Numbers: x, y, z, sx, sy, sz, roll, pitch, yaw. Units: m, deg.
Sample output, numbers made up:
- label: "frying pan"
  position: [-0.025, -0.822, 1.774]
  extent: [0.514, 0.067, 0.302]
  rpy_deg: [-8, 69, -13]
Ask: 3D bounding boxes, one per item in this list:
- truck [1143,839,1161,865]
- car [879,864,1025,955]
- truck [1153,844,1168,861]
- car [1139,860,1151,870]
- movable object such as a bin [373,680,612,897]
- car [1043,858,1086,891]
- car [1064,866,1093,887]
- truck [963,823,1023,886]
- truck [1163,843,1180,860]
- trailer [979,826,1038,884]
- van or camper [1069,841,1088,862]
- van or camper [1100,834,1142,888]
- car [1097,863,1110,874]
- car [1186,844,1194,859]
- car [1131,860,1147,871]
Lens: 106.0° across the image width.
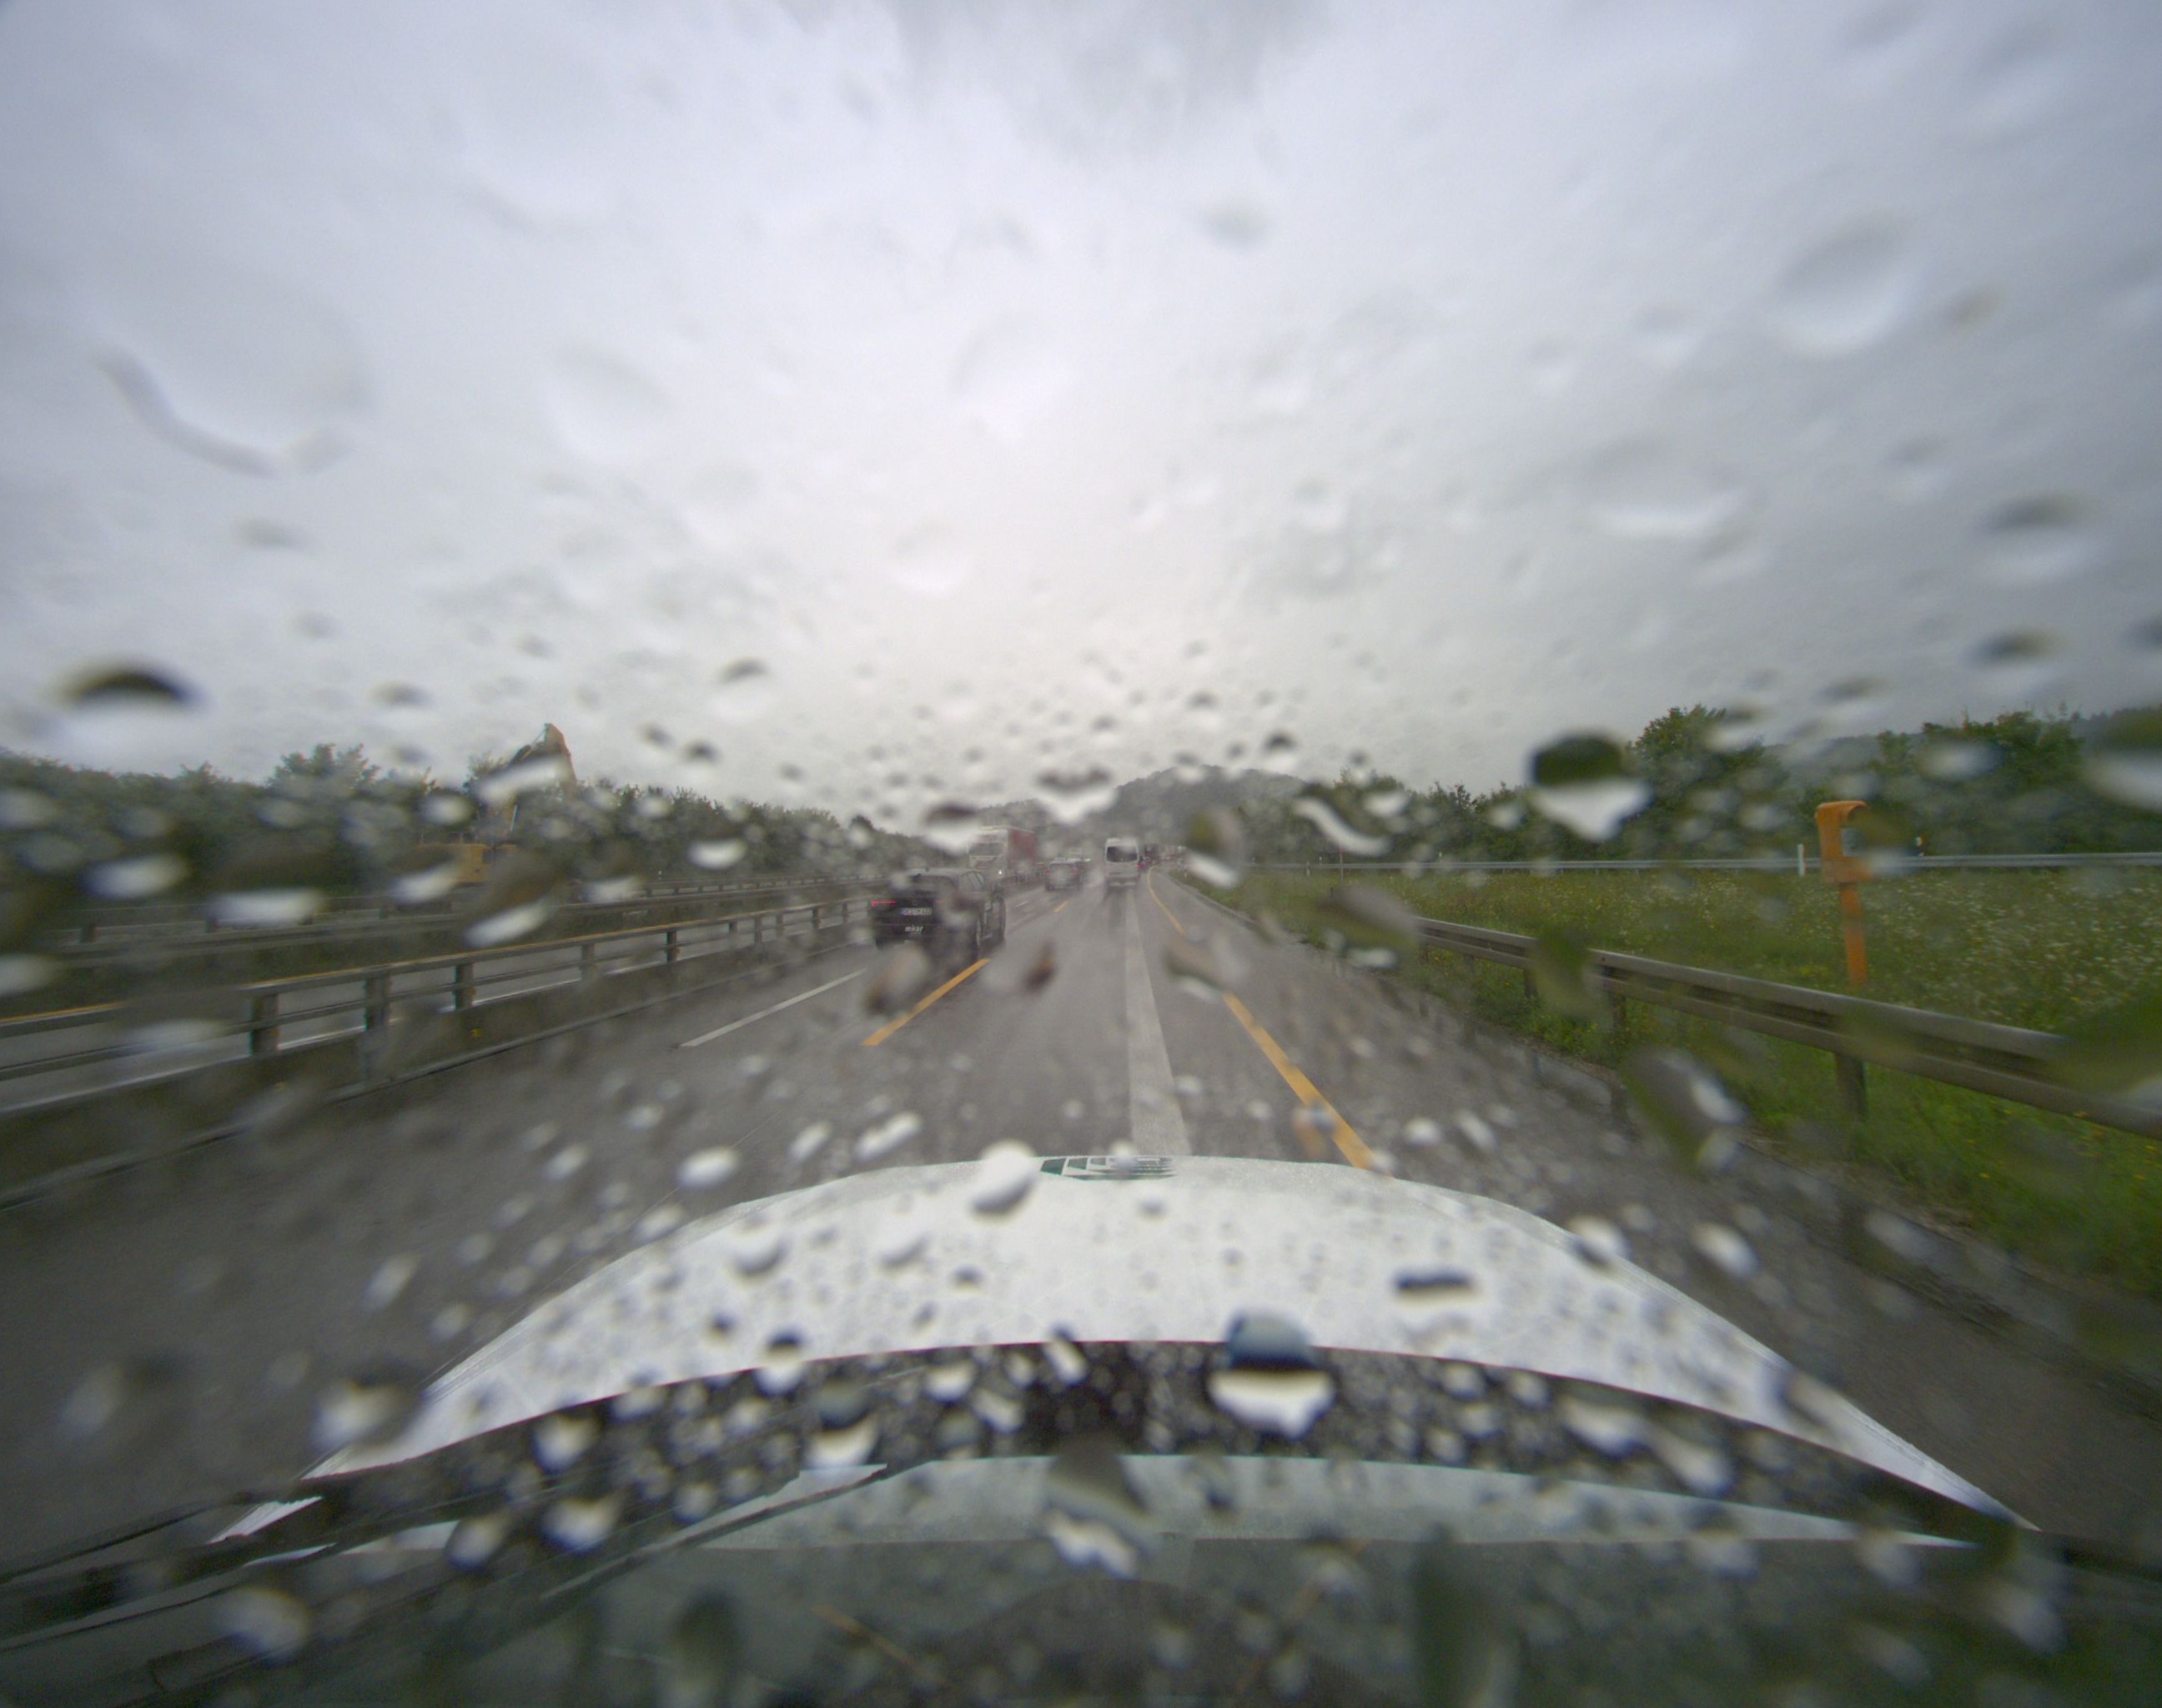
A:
- label: "truck"
  position: [13.585, -0.301, 155.527]
  extent: [3.305, 4.785, 9.919]
  rpy_deg: [0, -1, 5]
- label: "car"
  position: [-2.226, 0.910, 15.372]
  extent: [1.932, 1.427, 4.760]
  rpy_deg: [0, -1, 0]
- label: "truck"
  position: [18.808, -0.355, 193.126]
  extent: [3.305, 3.762, 9.919]
  rpy_deg: [0, -1, 5]
- label: "car"
  position: [8.545, 1.464, 108.248]
  extent: [1.379, 1.256, 3.123]
  rpy_deg: [-1, -1, 1]
- label: "movable object such as a bin"
  position: [-24.568, -2.417, 34.826]
  extent: [3.579, 8.144, 8.318]
  rpy_deg: [0, -1, 5]
- label: "car"
  position: [-0.828, 1.048, 42.939]
  extent: [1.859, 1.659, 3.992]
  rpy_deg: [-1, -1, 4]
- label: "car"
  position: [-0.140, 1.625, 59.969]
  extent: [1.844, 1.500, 4.003]
  rpy_deg: [-1, -1, 3]
- label: "truck"
  position: [-6.419, 0.078, 60.458]
  extent: [2.994, 4.272, 6.808]
  rpy_deg: [-2, -1, 4]
- label: "truck"
  position: [25.110, -0.645, 225.592]
  extent: [3.905, 4.785, 9.932]
  rpy_deg: [0, -1, 9]
- label: "trailer"
  position: [-5.832, 0.151, 67.471]
  extent: [2.962, 4.295, 11.072]
  rpy_deg: [-2, -1, 4]
- label: "van or camper"
  position: [-0.348, -0.270, 122.600]
  extent: [2.283, 3.041, 6.705]
  rpy_deg: [0, -1, 4]
- label: "van or camper"
  position: [2.184, 0.379, 44.386]
  extent: [2.130, 2.721, 4.652]
  rpy_deg: [-1, -1, 3]
- label: "car"
  position: [2.247, 1.474, 82.604]
  extent: [1.258, 1.078, 3.255]
  rpy_deg: [-1, -1, 1]
- label: "car"
  position: [31.304, -0.595, 233.969]
  extent: [2.047, 4.192, 6.759]
  rpy_deg: [-1, -1, 7]
- label: "car"
  position: [5.998, 1.216, 84.236]
  extent: [1.381, 1.078, 3.120]
  rpy_deg: [-1, -1, -2]
